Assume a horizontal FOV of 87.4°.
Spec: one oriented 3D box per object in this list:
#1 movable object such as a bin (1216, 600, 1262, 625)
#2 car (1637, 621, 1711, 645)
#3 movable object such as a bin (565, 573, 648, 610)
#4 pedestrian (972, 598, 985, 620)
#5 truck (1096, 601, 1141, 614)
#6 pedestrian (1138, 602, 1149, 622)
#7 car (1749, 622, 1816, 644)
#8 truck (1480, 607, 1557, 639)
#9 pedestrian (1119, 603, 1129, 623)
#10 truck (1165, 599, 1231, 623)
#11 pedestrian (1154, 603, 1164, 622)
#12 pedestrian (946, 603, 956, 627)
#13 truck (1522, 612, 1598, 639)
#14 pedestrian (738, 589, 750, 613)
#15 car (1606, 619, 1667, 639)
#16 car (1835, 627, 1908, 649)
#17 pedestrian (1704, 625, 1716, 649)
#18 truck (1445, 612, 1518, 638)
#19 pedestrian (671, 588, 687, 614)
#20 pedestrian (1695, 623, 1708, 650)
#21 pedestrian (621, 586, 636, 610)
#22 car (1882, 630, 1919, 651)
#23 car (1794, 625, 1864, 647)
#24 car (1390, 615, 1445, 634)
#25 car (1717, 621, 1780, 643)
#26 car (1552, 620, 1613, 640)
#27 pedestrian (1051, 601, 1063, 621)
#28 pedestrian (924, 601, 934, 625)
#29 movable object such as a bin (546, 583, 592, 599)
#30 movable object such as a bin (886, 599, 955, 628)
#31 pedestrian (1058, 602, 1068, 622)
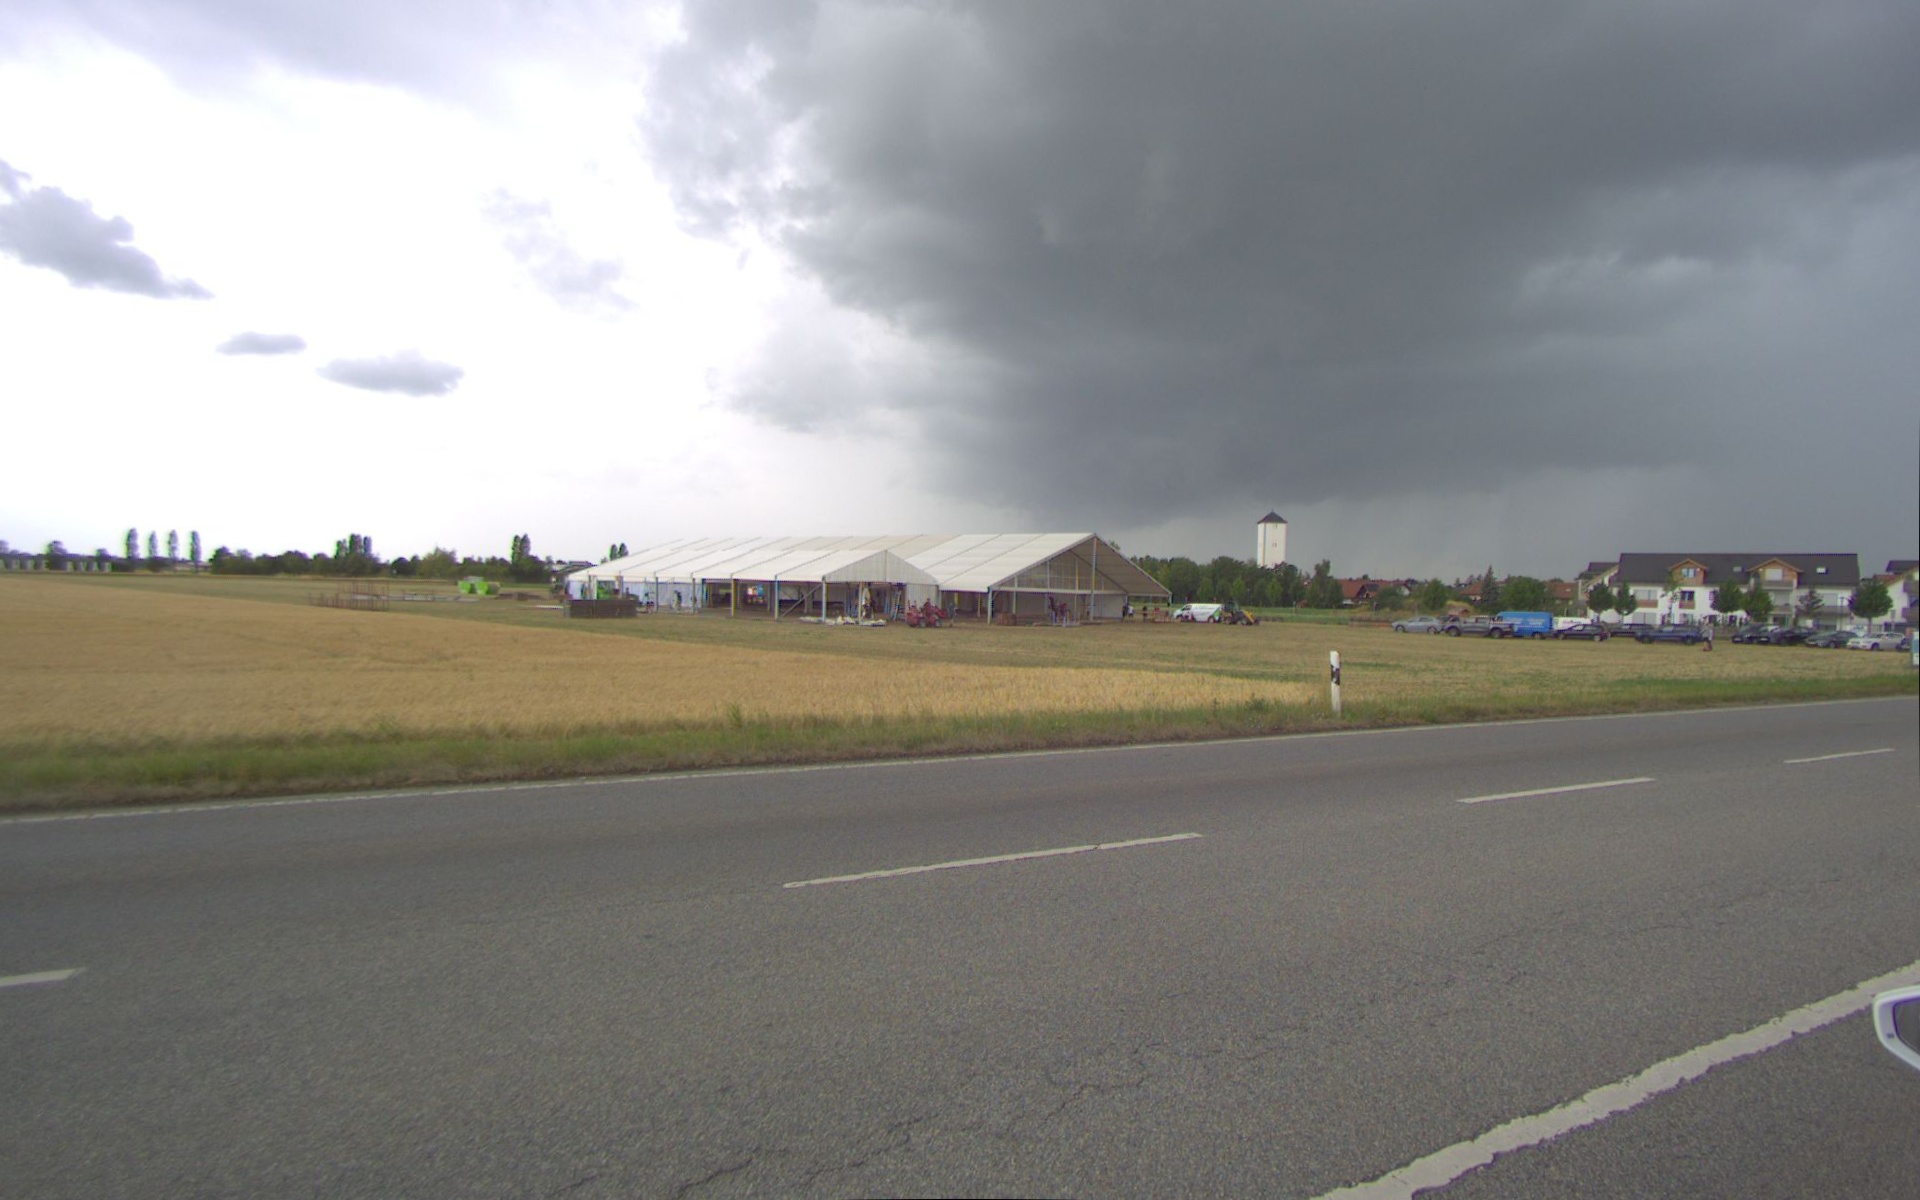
[{"bbox_3d":[27.062,1.223,97.438,3.929,2.273,1.881,2,0,33],"label":"movable object such as a bin"},{"bbox_3d":[57.579,2.621,81.062,4.660,1.719,1.990,1,0,41],"label":"car"},{"bbox_3d":[-33.289,-0.812,94.509,7.468,3.219,4.139,3,1,40],"label":"movable object such as a bin"},{"bbox_3d":[1.698,0.819,90.976,0.757,2.040,0.873,2,0,41],"label":"pedestrian"},{"bbox_3d":[34.180,1.647,216.549,9.225,2.563,3.287,2,0,37],"label":"truck"},{"bbox_3d":[17.705,1.161,96.949,0.699,1.890,0.622,1,0,-25],"label":"pedestrian"},{"bbox_3d":[66.310,2.670,80.988,4.137,1.650,1.996,1,0,-12],"label":"car"},{"bbox_3d":[47.320,1.913,85.197,5.380,2.478,2.384,2,0,38],"label":"truck"},{"bbox_3d":[15.099,1.219,92.424,0.682,1.799,0.689,2,0,31],"label":"pedestrian"},{"bbox_3d":[24.496,1.106,103.452,5.961,2.246,2.713,2,0,34],"label":"truck"},{"bbox_3d":[19.116,1.182,96.530,0.680,1.799,0.691,2,0,41],"label":"pedestrian"},{"bbox_3d":[-0.625,1.073,70.994,0.536,1.649,0.552,2,0,18],"label":"pedestrian"},{"bbox_3d":[53.457,2.233,89.570,5.495,2.226,2.597,2,0,38],"label":"truck"},{"bbox_3d":[-19.176,0.077,89.287,0.926,2.130,0.864,1,0,-18],"label":"pedestrian"},{"bbox_3d":[63.515,2.735,94.382,4.571,1.719,1.990,1,0,41],"label":"car"},{"bbox_3d":[68.413,2.835,75.385,4.137,1.465,1.996,1,0,-12],"label":"car"},{"bbox_3d":[51.351,2.529,68.757,0.583,1.576,0.623,2,0,42],"label":"pedestrian"},{"bbox_3d":[43.443,2.054,83.746,5.156,1.946,2.106,2,0,35],"label":"truck"},{"bbox_3d":[-23.199,0.079,82.964,1.005,2.040,0.806,2,0,-2],"label":"pedestrian"},{"bbox_3d":[50.428,2.483,68.270,0.673,1.809,0.543,1,0,-41],"label":"pedestrian"},{"bbox_3d":[-28.488,-0.165,86.407,1.010,2.040,0.803,2,0,41],"label":"pedestrian"},{"bbox_3d":[69.460,2.941,72.656,4.137,1.465,1.996,1,0,-12],"label":"car"},{"bbox_3d":[67.438,2.771,78.003,4.137,1.556,1.996,1,0,-12],"label":"car"},{"bbox_3d":[41.159,2.195,90.340,4.236,1.481,1.886,2,0,34],"label":"car"},{"bbox_3d":[66.556,2.691,84.796,4.137,1.650,1.996,1,0,-12],"label":"car"},{"bbox_3d":[52.724,2.547,85.081,4.106,1.539,1.990,1,0,41],"label":"car"},{"bbox_3d":[8.906,1.044,92.283,0.721,1.803,0.756,2,0,40],"label":"pedestrian"},{"bbox_3d":[-2.252,0.943,72.705,0.576,1.649,0.467,2,0,-27],"label":"pedestrian"},{"bbox_3d":[-54.255,-1.205,139.283,2.529,2.040,5.386,2,0,41],"label":"movable object such as a bin"},{"bbox_3d":[-2.693,0.955,69.587,2.556,1.889,4.457,2,0,37],"label":"movable object such as a bin"},{"bbox_3d":[9.392,1.066,91.564,0.646,1.767,0.724,2,0,40],"label":"pedestrian"}]
